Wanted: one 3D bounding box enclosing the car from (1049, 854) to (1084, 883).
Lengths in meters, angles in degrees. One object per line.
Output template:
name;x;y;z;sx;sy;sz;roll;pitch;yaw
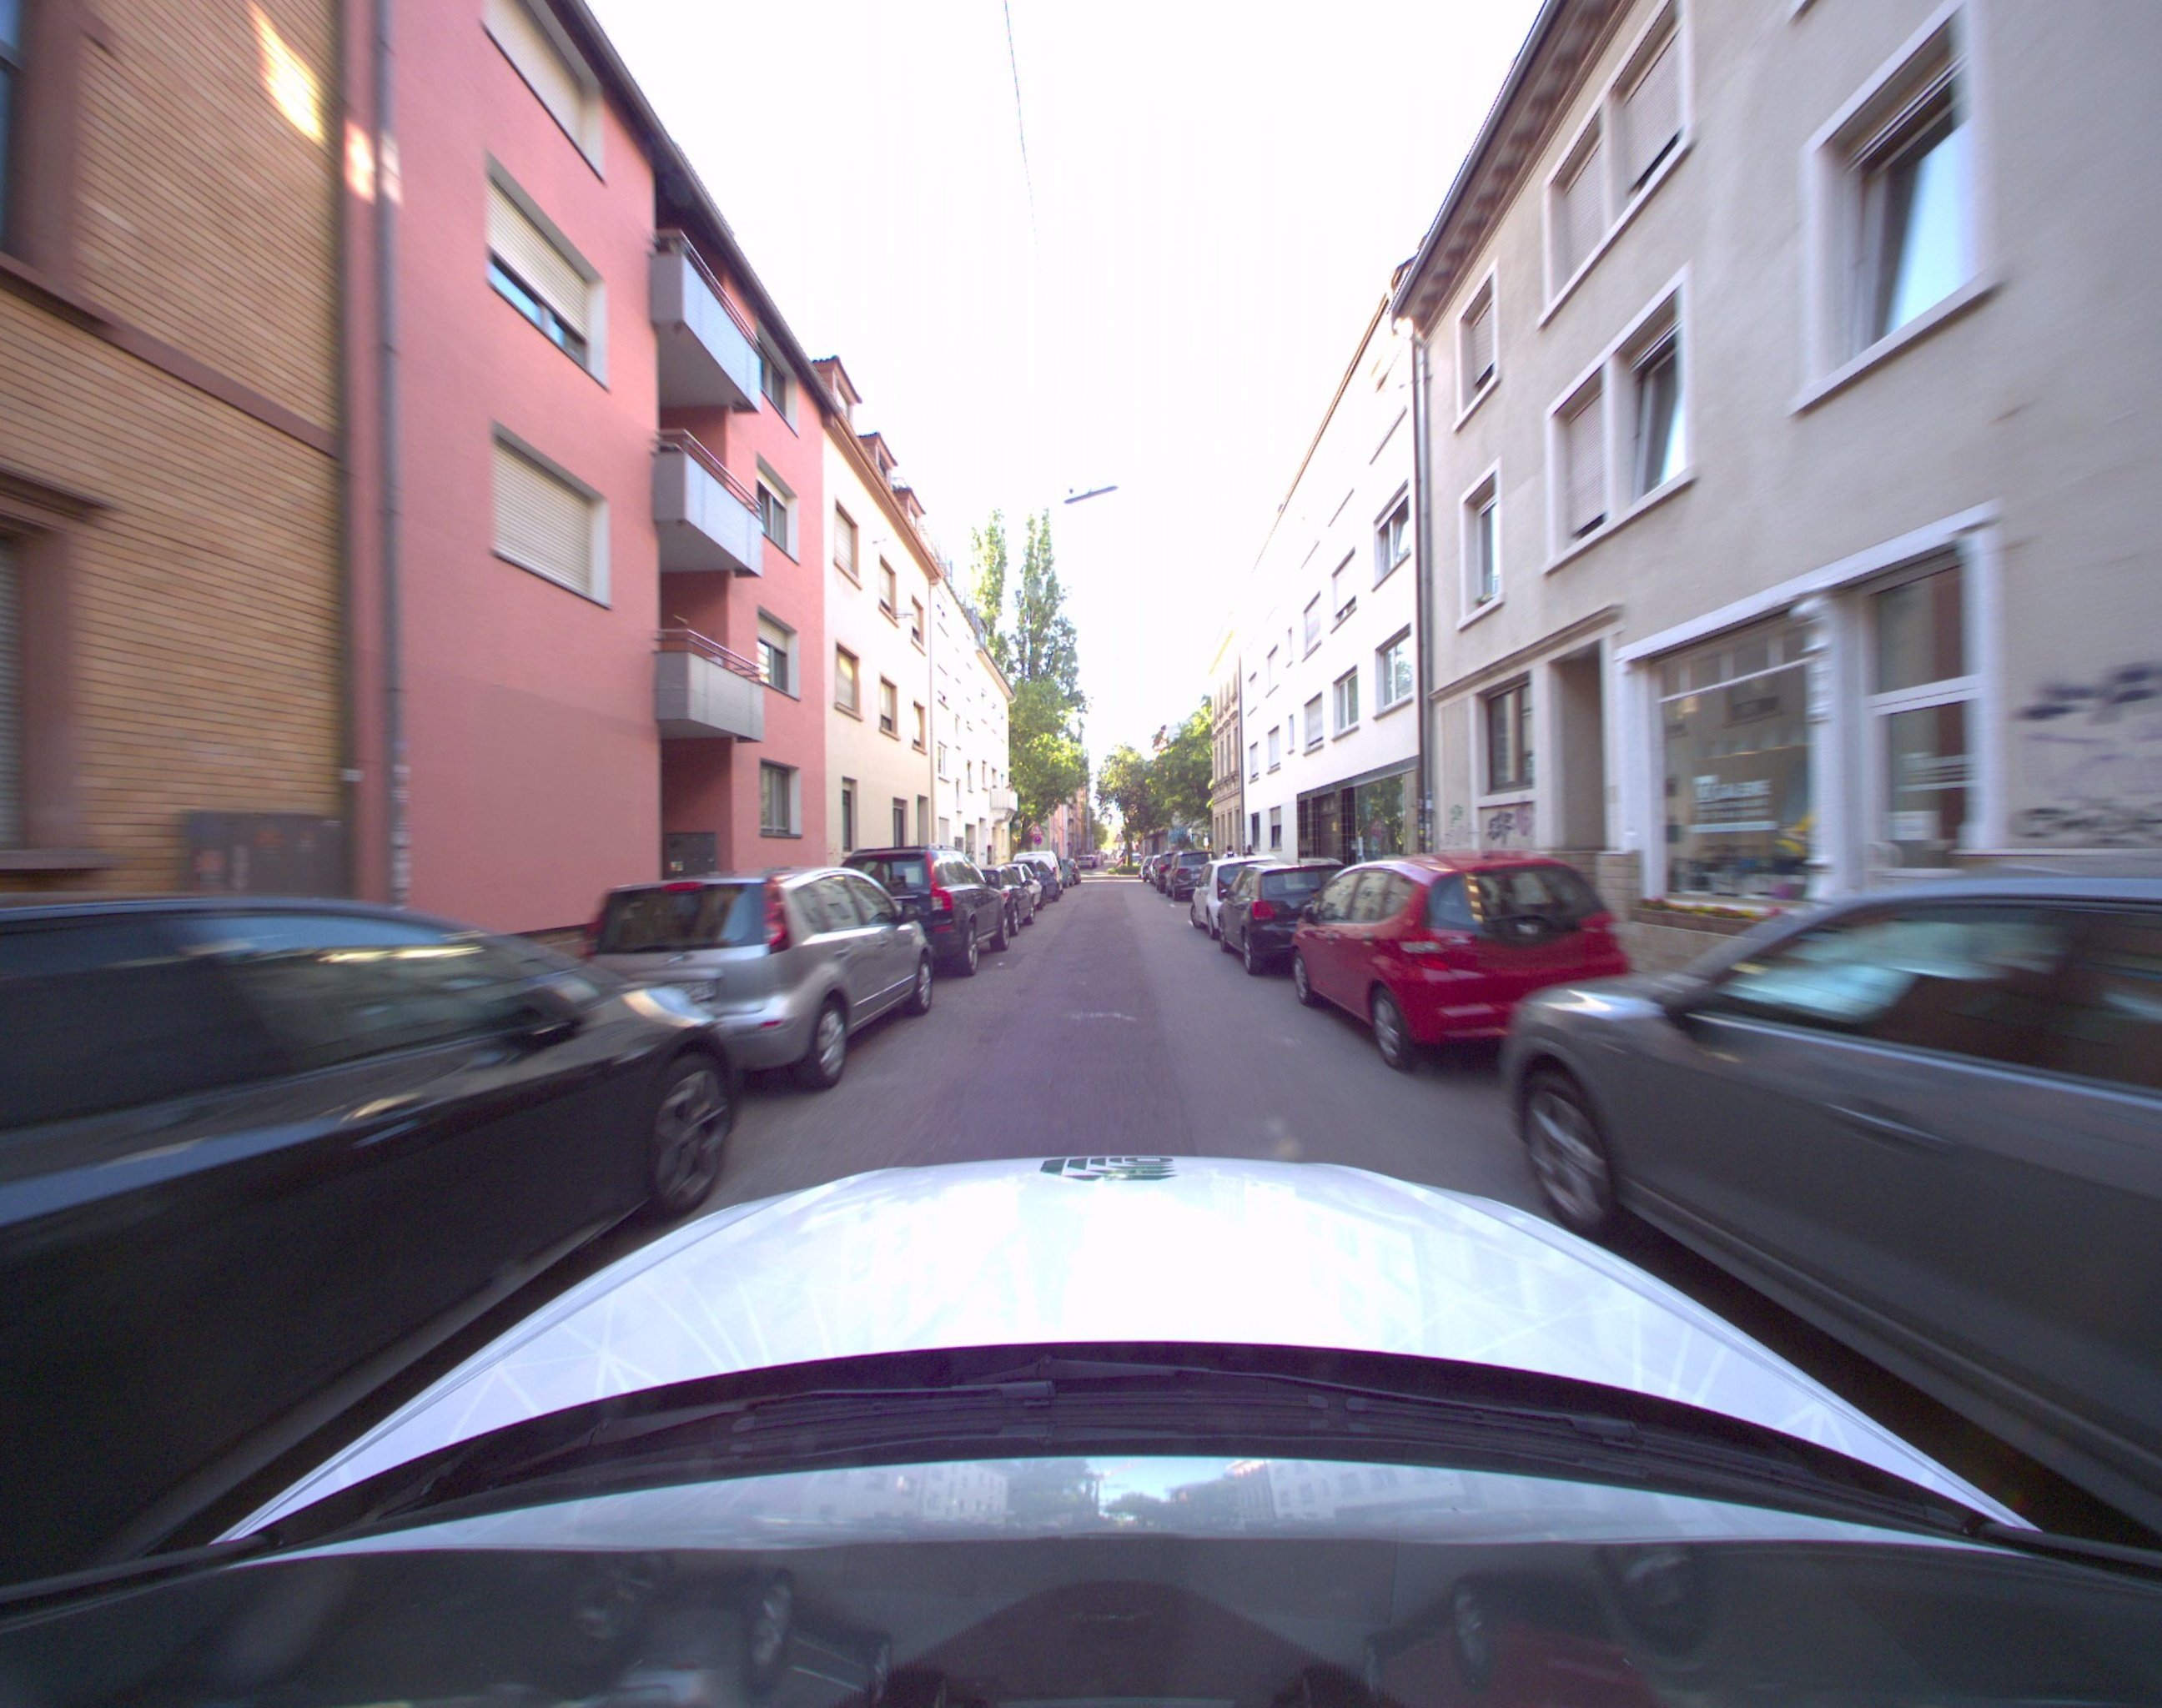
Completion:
car;-0.736;0.755;44.724;1.664;1.361;4.051;-3;0;2

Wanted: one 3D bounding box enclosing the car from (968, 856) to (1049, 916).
car;-1.926;0.811;22.761;1.667;1.388;4.184;-3;0;2

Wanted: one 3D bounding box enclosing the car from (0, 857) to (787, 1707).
car;-2.608;0.843;2.385;1.688;1.521;4.100;-3;0;4

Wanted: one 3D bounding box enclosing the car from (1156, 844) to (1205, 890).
car;4.084;0.522;33.799;1.669;1.681;4.098;-3;-1;3

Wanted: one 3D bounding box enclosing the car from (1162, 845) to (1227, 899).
car;3.908;0.575;28.690;1.670;1.627;4.252;-5;0;1

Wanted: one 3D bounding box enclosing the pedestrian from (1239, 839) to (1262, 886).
pedestrian;6.233;0.305;29.995;0.683;1.660;0.718;-2;0;2

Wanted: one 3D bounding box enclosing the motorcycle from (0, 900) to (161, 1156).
motorcycle;-5.555;0.875;3.685;0.531;1.206;1.910;-1;0;3

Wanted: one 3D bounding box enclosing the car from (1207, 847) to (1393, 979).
car;2.954;0.703;11.841;1.670;1.506;3.939;-3;0;1

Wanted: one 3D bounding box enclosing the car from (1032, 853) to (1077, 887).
car;-1.276;0.756;40.561;1.662;1.469;3.826;-3;0;5

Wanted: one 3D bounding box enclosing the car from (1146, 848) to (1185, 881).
car;4.426;0.516;43.171;1.670;1.561;3.797;-3;0;1

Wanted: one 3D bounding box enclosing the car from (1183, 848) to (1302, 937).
car;3.159;0.683;16.650;1.670;1.506;3.939;-3;0;1

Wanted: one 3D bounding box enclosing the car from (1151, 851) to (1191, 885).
car;4.262;0.637;38.959;1.560;1.483;3.620;-3;0;1

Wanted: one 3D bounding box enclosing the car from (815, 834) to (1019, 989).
car;-2.191;0.684;12.291;1.736;1.811;4.677;-3;0;4

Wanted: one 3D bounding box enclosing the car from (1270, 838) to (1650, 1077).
car;3.012;0.677;7.528;1.592;1.506;4.186;-3;0;1

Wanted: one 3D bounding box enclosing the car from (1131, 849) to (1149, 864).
car;6.282;0.233;87.076;1.670;1.487;3.639;-3;0;1

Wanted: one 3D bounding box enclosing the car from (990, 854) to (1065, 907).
car;-1.708;0.826;27.152;1.664;1.486;4.000;-3;0;7

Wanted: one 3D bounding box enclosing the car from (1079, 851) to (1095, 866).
car;0.684;0.480;91.178;1.670;1.487;4.096;-3;0;1

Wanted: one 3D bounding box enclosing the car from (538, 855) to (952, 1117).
car;-2.425;0.836;7.062;1.649;1.521;3.948;-3;0;4

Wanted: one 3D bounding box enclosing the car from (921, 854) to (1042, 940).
car;-2.016;0.822;17.730;1.736;1.506;4.351;-3;0;4

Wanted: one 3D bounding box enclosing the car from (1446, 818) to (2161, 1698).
car;2.743;0.685;2.131;1.738;1.506;4.021;-3;0;0

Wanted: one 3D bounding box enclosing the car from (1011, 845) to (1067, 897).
car;-1.576;0.610;31.805;1.759;1.785;4.040;-3;0;1

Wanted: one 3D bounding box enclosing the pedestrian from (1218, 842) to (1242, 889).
pedestrian;5.454;0.410;29.825;0.683;1.660;0.718;-2;0;2

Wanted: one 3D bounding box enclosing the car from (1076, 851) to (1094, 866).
car;0.428;0.438;85.759;1.670;1.487;4.096;-3;0;1

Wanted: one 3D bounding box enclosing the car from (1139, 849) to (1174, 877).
car;4.412;0.479;48.080;1.670;1.487;4.096;-3;0;1
